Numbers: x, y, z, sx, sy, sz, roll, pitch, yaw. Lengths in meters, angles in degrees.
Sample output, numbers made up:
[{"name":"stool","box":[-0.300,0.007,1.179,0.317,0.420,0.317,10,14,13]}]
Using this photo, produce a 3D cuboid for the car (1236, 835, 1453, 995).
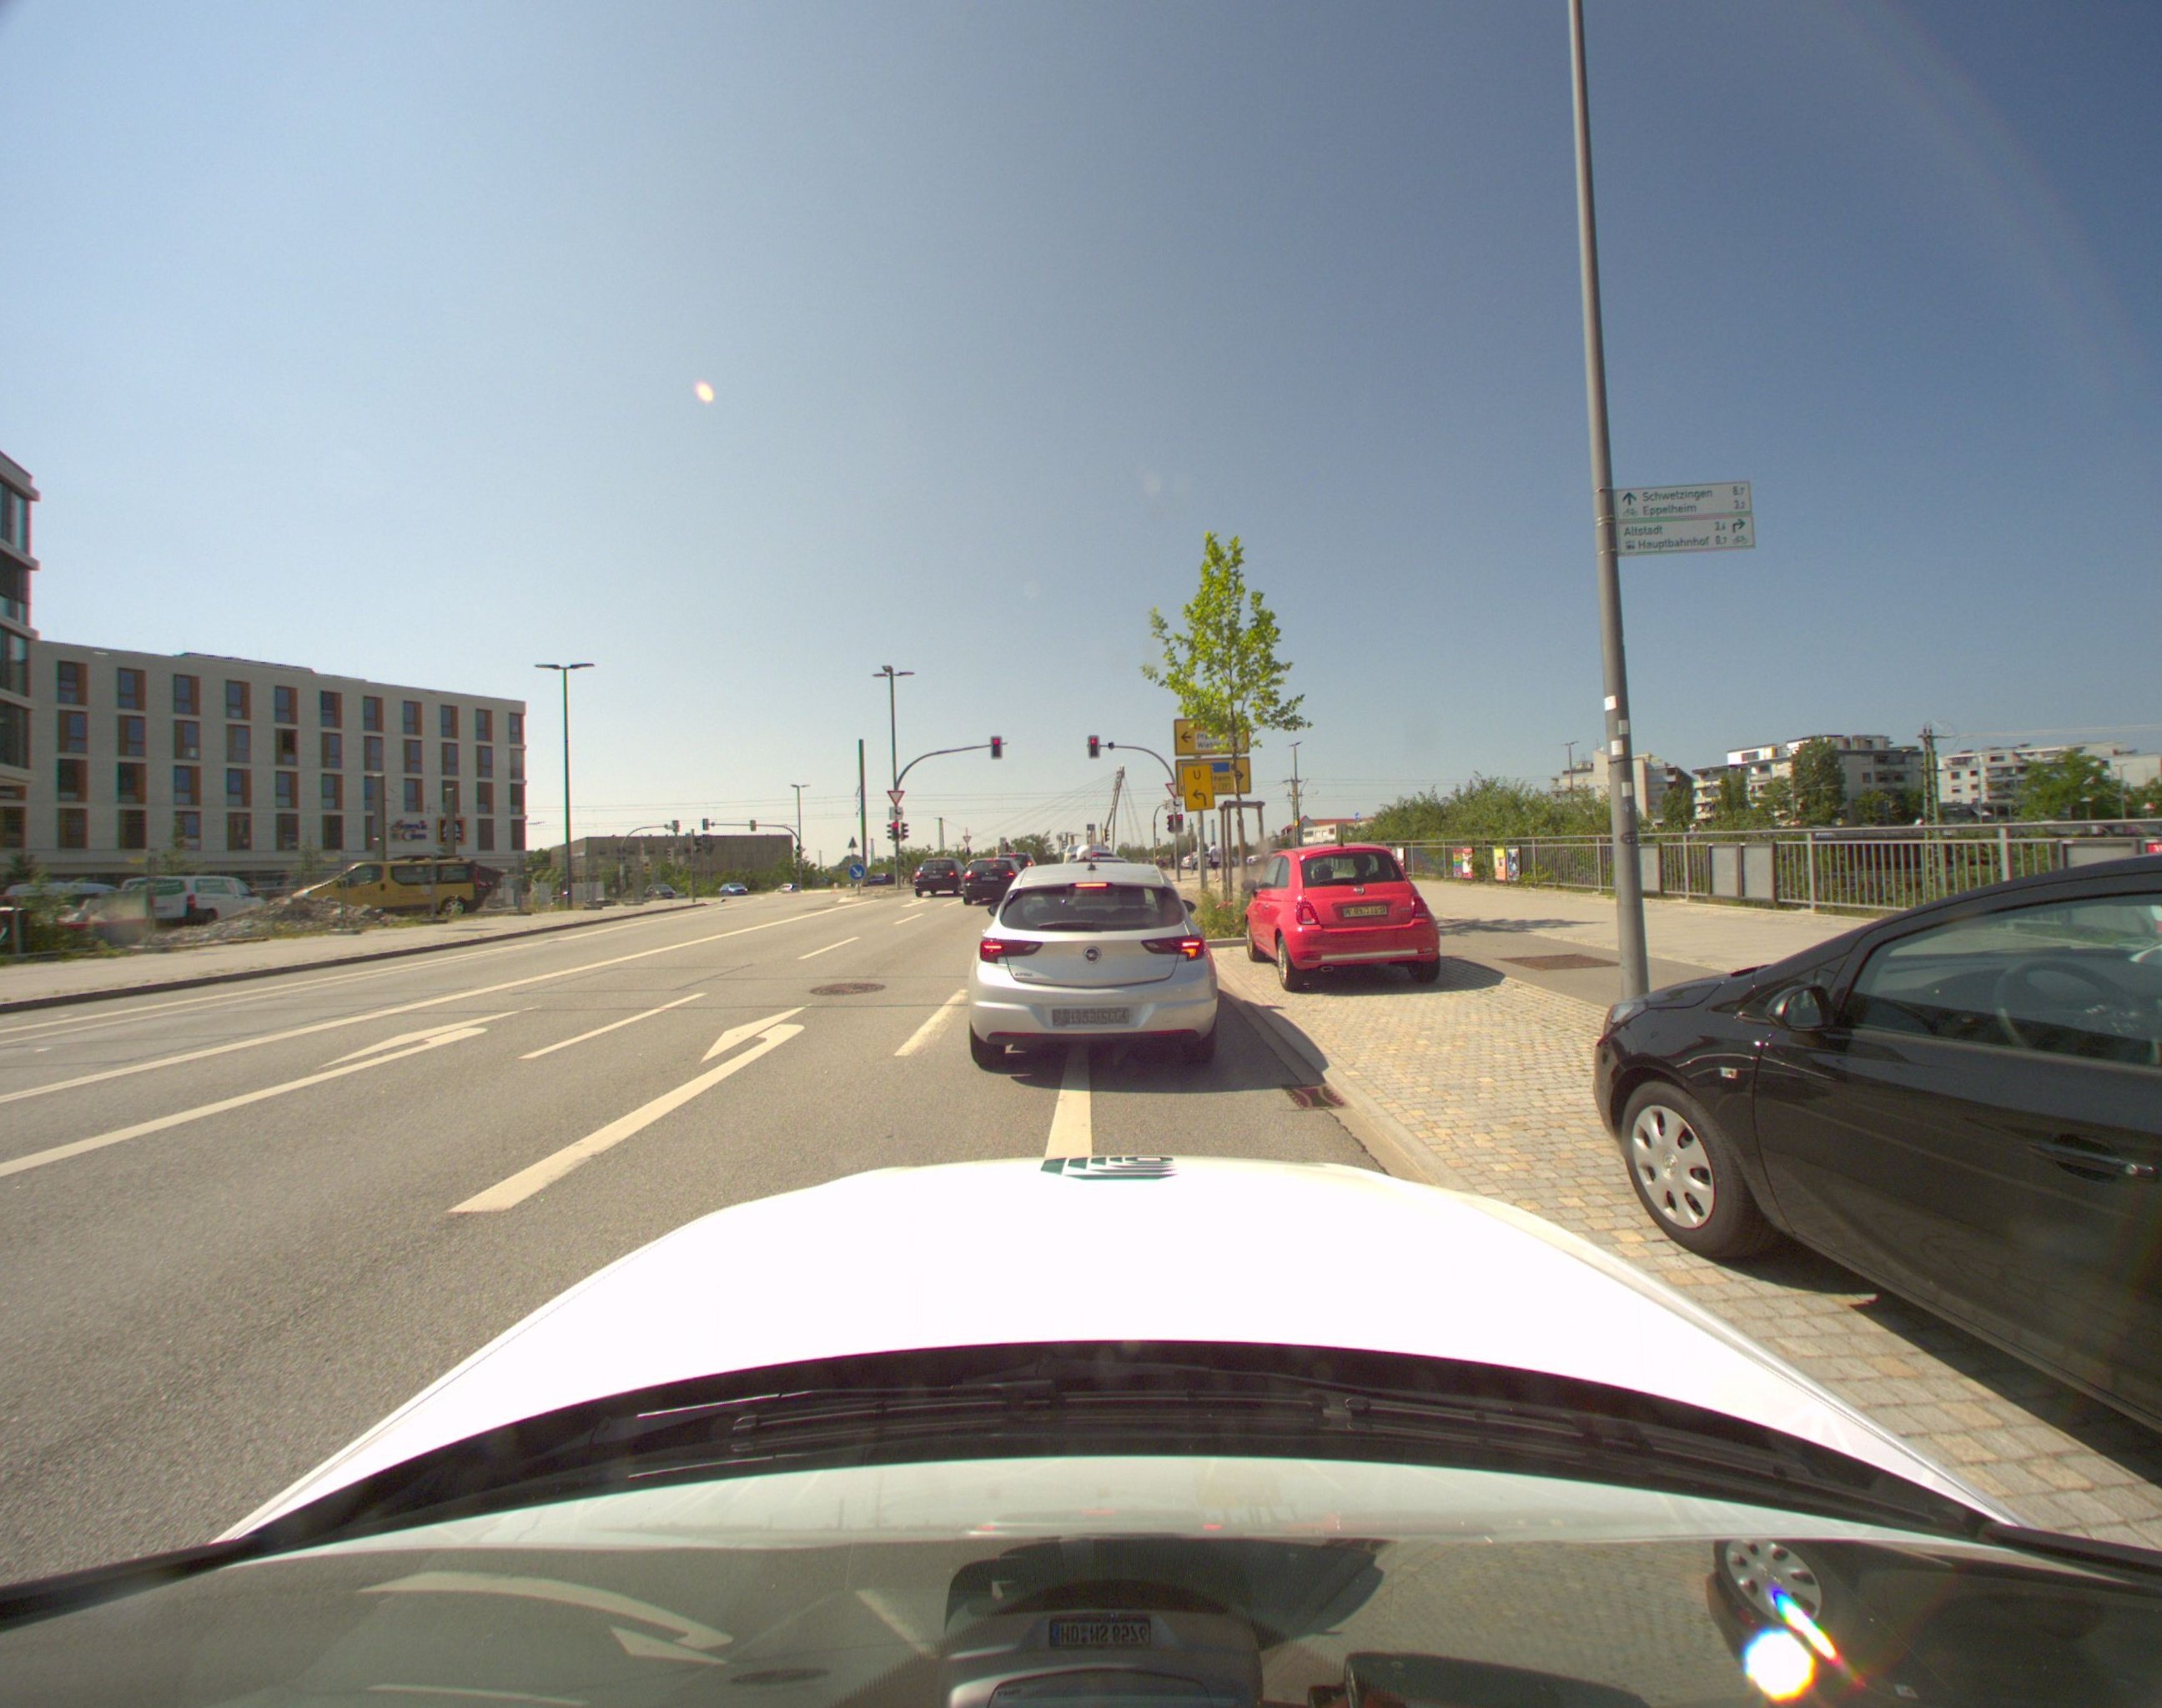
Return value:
[{"name":"car","box":[2.941,0.607,9.801,1.603,1.496,3.355,-4,0,3]}]

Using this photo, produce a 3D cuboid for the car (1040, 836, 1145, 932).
[{"name":"car","box":[0.288,0.562,17.745,1.986,1.820,4.404,0,0,2]}]

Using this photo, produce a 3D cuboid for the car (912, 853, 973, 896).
[{"name":"car","box":[-5.248,0.768,31.338,1.591,1.547,3.764,0,-1,2]}]

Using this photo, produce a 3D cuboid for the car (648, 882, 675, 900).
[{"name":"car","box":[-38.550,3.351,74.766,1.686,1.476,3.368,-2,0,-37]}]

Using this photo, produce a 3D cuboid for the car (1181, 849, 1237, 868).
[{"name":"car","box":[10.085,0.337,64.170,3.982,1.483,1.996,0,-1,-6]}]

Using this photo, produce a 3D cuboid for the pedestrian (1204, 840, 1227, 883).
[{"name":"pedestrian","box":[5.788,0.314,34.933,0.641,1.836,0.803,-3,-1,33]}]

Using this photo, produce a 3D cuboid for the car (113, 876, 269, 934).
[{"name":"car","box":[-31.014,1.694,28.609,1.873,1.774,4.619,0,-1,-22]}]

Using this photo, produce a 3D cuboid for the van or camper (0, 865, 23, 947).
[{"name":"van or camper","box":[-36.505,1.724,25.375,2.318,2.735,4.944,0,-1,-26]}]

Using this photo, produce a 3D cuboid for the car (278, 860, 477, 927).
[{"name":"car","box":[-22.680,1.195,26.417,1.964,1.962,4.655,-1,-1,40]}]

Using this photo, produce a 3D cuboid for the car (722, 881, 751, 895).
[{"name":"car","box":[-35.570,3.536,84.005,1.831,1.331,3.954,0,-2,-38]}]

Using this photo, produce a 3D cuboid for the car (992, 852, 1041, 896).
[{"name":"car","box":[-2.464,0.757,31.791,1.644,1.615,3.819,0,-1,0]}]

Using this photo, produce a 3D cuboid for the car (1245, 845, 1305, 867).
[{"name":"car","box":[15.299,0.167,64.393,4.282,1.631,1.747,-1,-1,-15]}]

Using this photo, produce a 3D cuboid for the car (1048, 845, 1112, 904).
[{"name":"car","box":[0.051,0.529,23.891,1.717,1.563,4.002,0,1,2]}]

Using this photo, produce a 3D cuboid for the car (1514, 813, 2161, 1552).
[{"name":"car","box":[2.896,0.601,1.934,1.654,1.426,4.001,-3,-1,2]}]

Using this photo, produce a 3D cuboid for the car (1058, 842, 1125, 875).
[{"name":"car","box":[0.861,0.367,62.848,4.976,2.376,1.786,-1,-1,5]}]

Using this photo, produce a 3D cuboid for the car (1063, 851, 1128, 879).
[{"name":"car","box":[1.027,0.819,59.921,4.687,2.014,2.000,0,-1,-1]}]

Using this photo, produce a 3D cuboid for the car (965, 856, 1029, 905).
[{"name":"car","box":[-2.608,0.789,25.907,1.569,1.434,3.786,0,-1,1]}]

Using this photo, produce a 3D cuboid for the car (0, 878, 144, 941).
[{"name":"car","box":[-33.695,1.778,27.199,1.794,1.857,3.818,0,-1,-26]}]

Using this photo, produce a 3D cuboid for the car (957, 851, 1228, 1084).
[{"name":"car","box":[0.057,0.744,7.246,1.738,1.478,3.998,0,-1,-1]}]

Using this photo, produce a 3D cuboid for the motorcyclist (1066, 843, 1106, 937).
[{"name":"motorcyclist","box":[0.083,0.543,12.422,0.579,1.389,0.707,0,-1,1]}]
